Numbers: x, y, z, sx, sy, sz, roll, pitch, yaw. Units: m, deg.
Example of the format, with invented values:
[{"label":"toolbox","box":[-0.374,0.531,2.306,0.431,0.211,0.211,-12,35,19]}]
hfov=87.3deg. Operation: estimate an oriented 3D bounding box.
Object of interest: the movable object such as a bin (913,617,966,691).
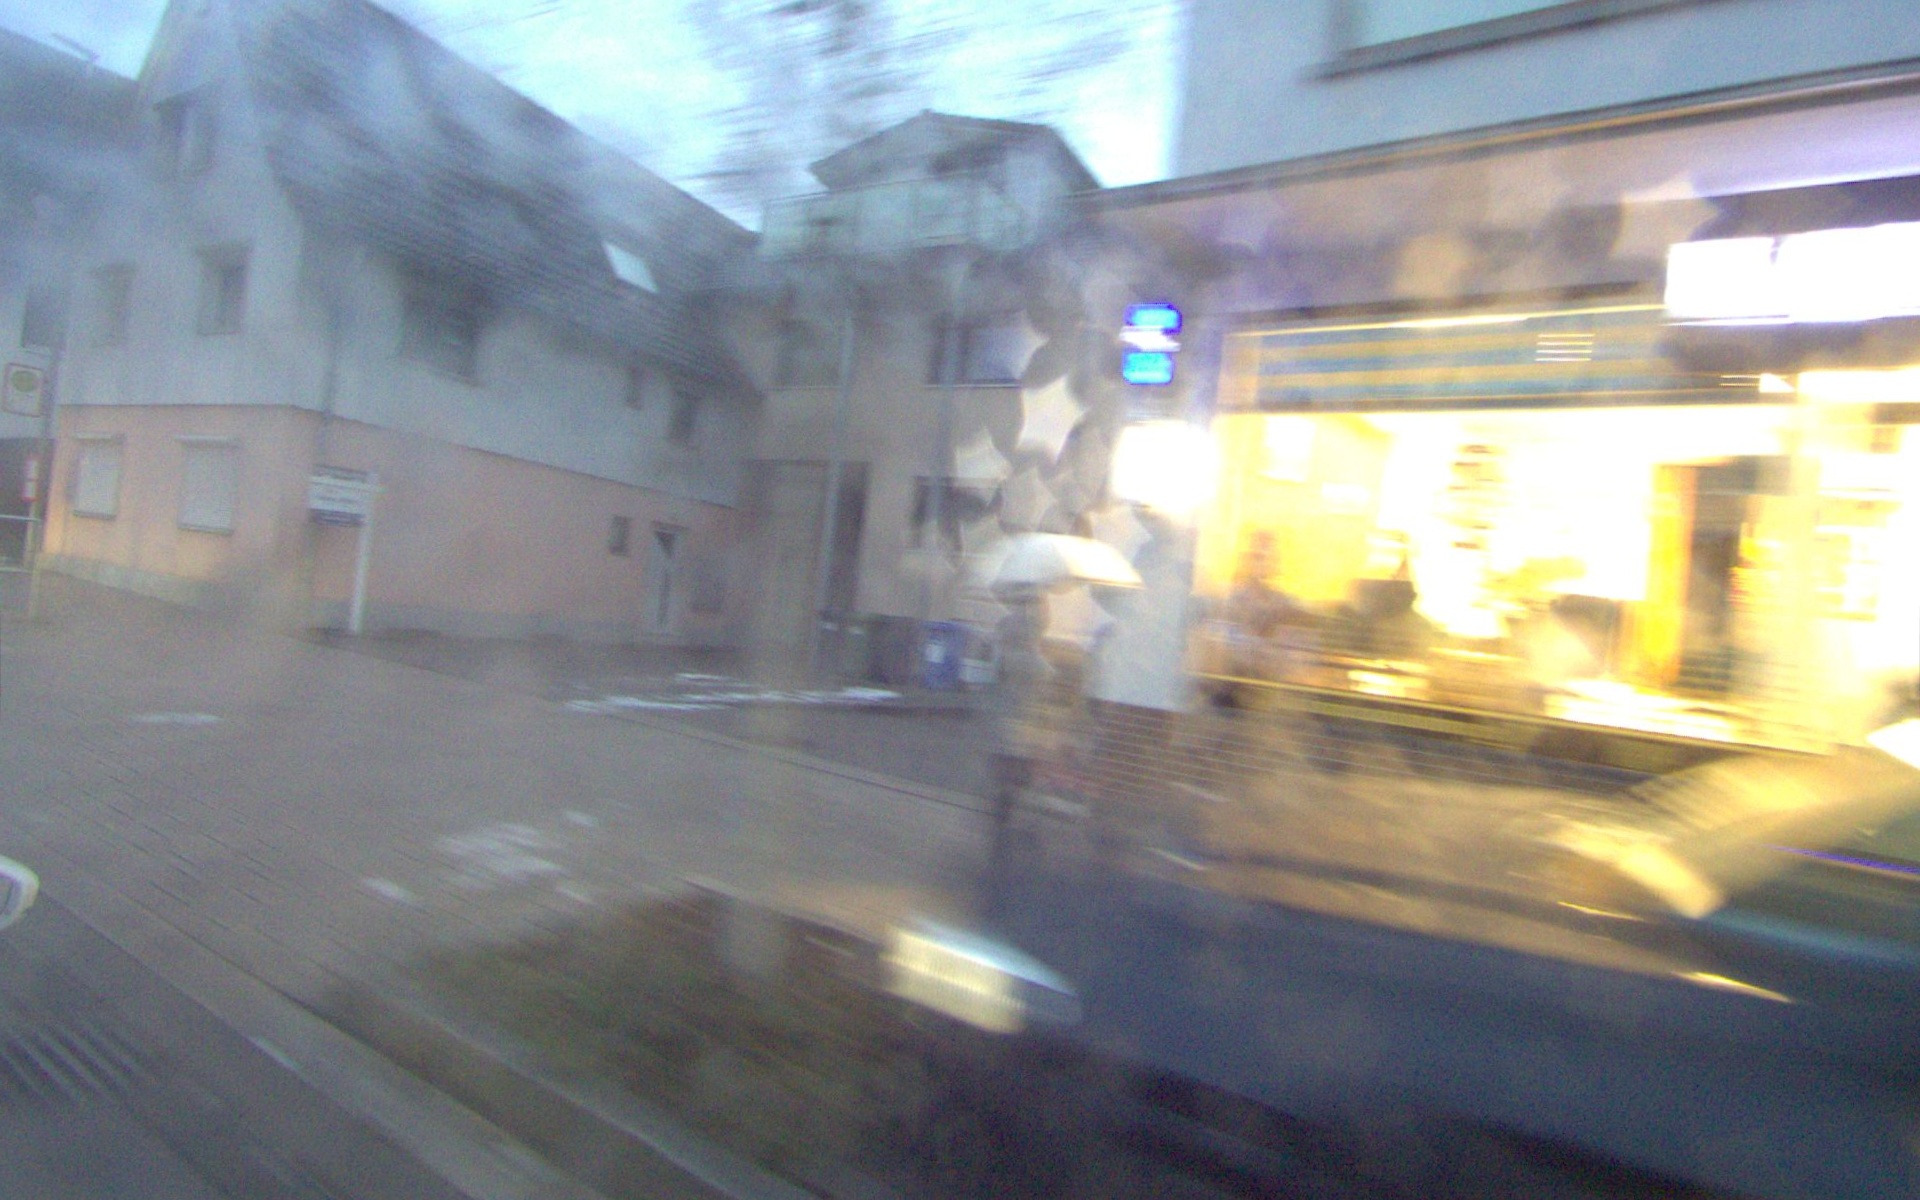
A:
[{"label":"movable object such as a bin","box":[-0.317,0.836,15.605,0.575,1.059,0.372,7,-2,30]}]

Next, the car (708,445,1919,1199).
[{"label":"car","box":[1.874,0.846,1.508,4.312,1.713,1.738,6,-1,30]}]

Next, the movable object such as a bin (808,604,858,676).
[{"label":"movable object such as a bin","box":[-2.090,0.655,16.545,0.575,1.090,0.372,7,-2,30]}]

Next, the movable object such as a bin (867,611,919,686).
[{"label":"movable object such as a bin","box":[-1.050,0.764,15.836,0.575,1.090,0.372,7,-2,30]}]

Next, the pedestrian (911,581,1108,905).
[{"label":"pedestrian","box":[0.283,0.731,5.409,0.720,1.534,0.620,8,0,17]}]

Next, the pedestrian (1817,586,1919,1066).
[{"label":"pedestrian","box":[3.766,0.855,3.855,0.611,1.746,0.500,4,-3,37]}]

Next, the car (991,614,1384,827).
[{"label":"car","box":[2.295,1.116,9.499,3.865,1.444,1.660,8,0,-44]}]

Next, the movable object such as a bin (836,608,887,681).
[{"label":"movable object such as a bin","box":[-1.581,0.712,16.105,0.575,1.090,0.372,7,-2,30]}]

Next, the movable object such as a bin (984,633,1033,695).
[{"label":"movable object such as a bin","box":[0.781,1.028,16.199,0.575,0.917,0.372,7,-2,30]}]
